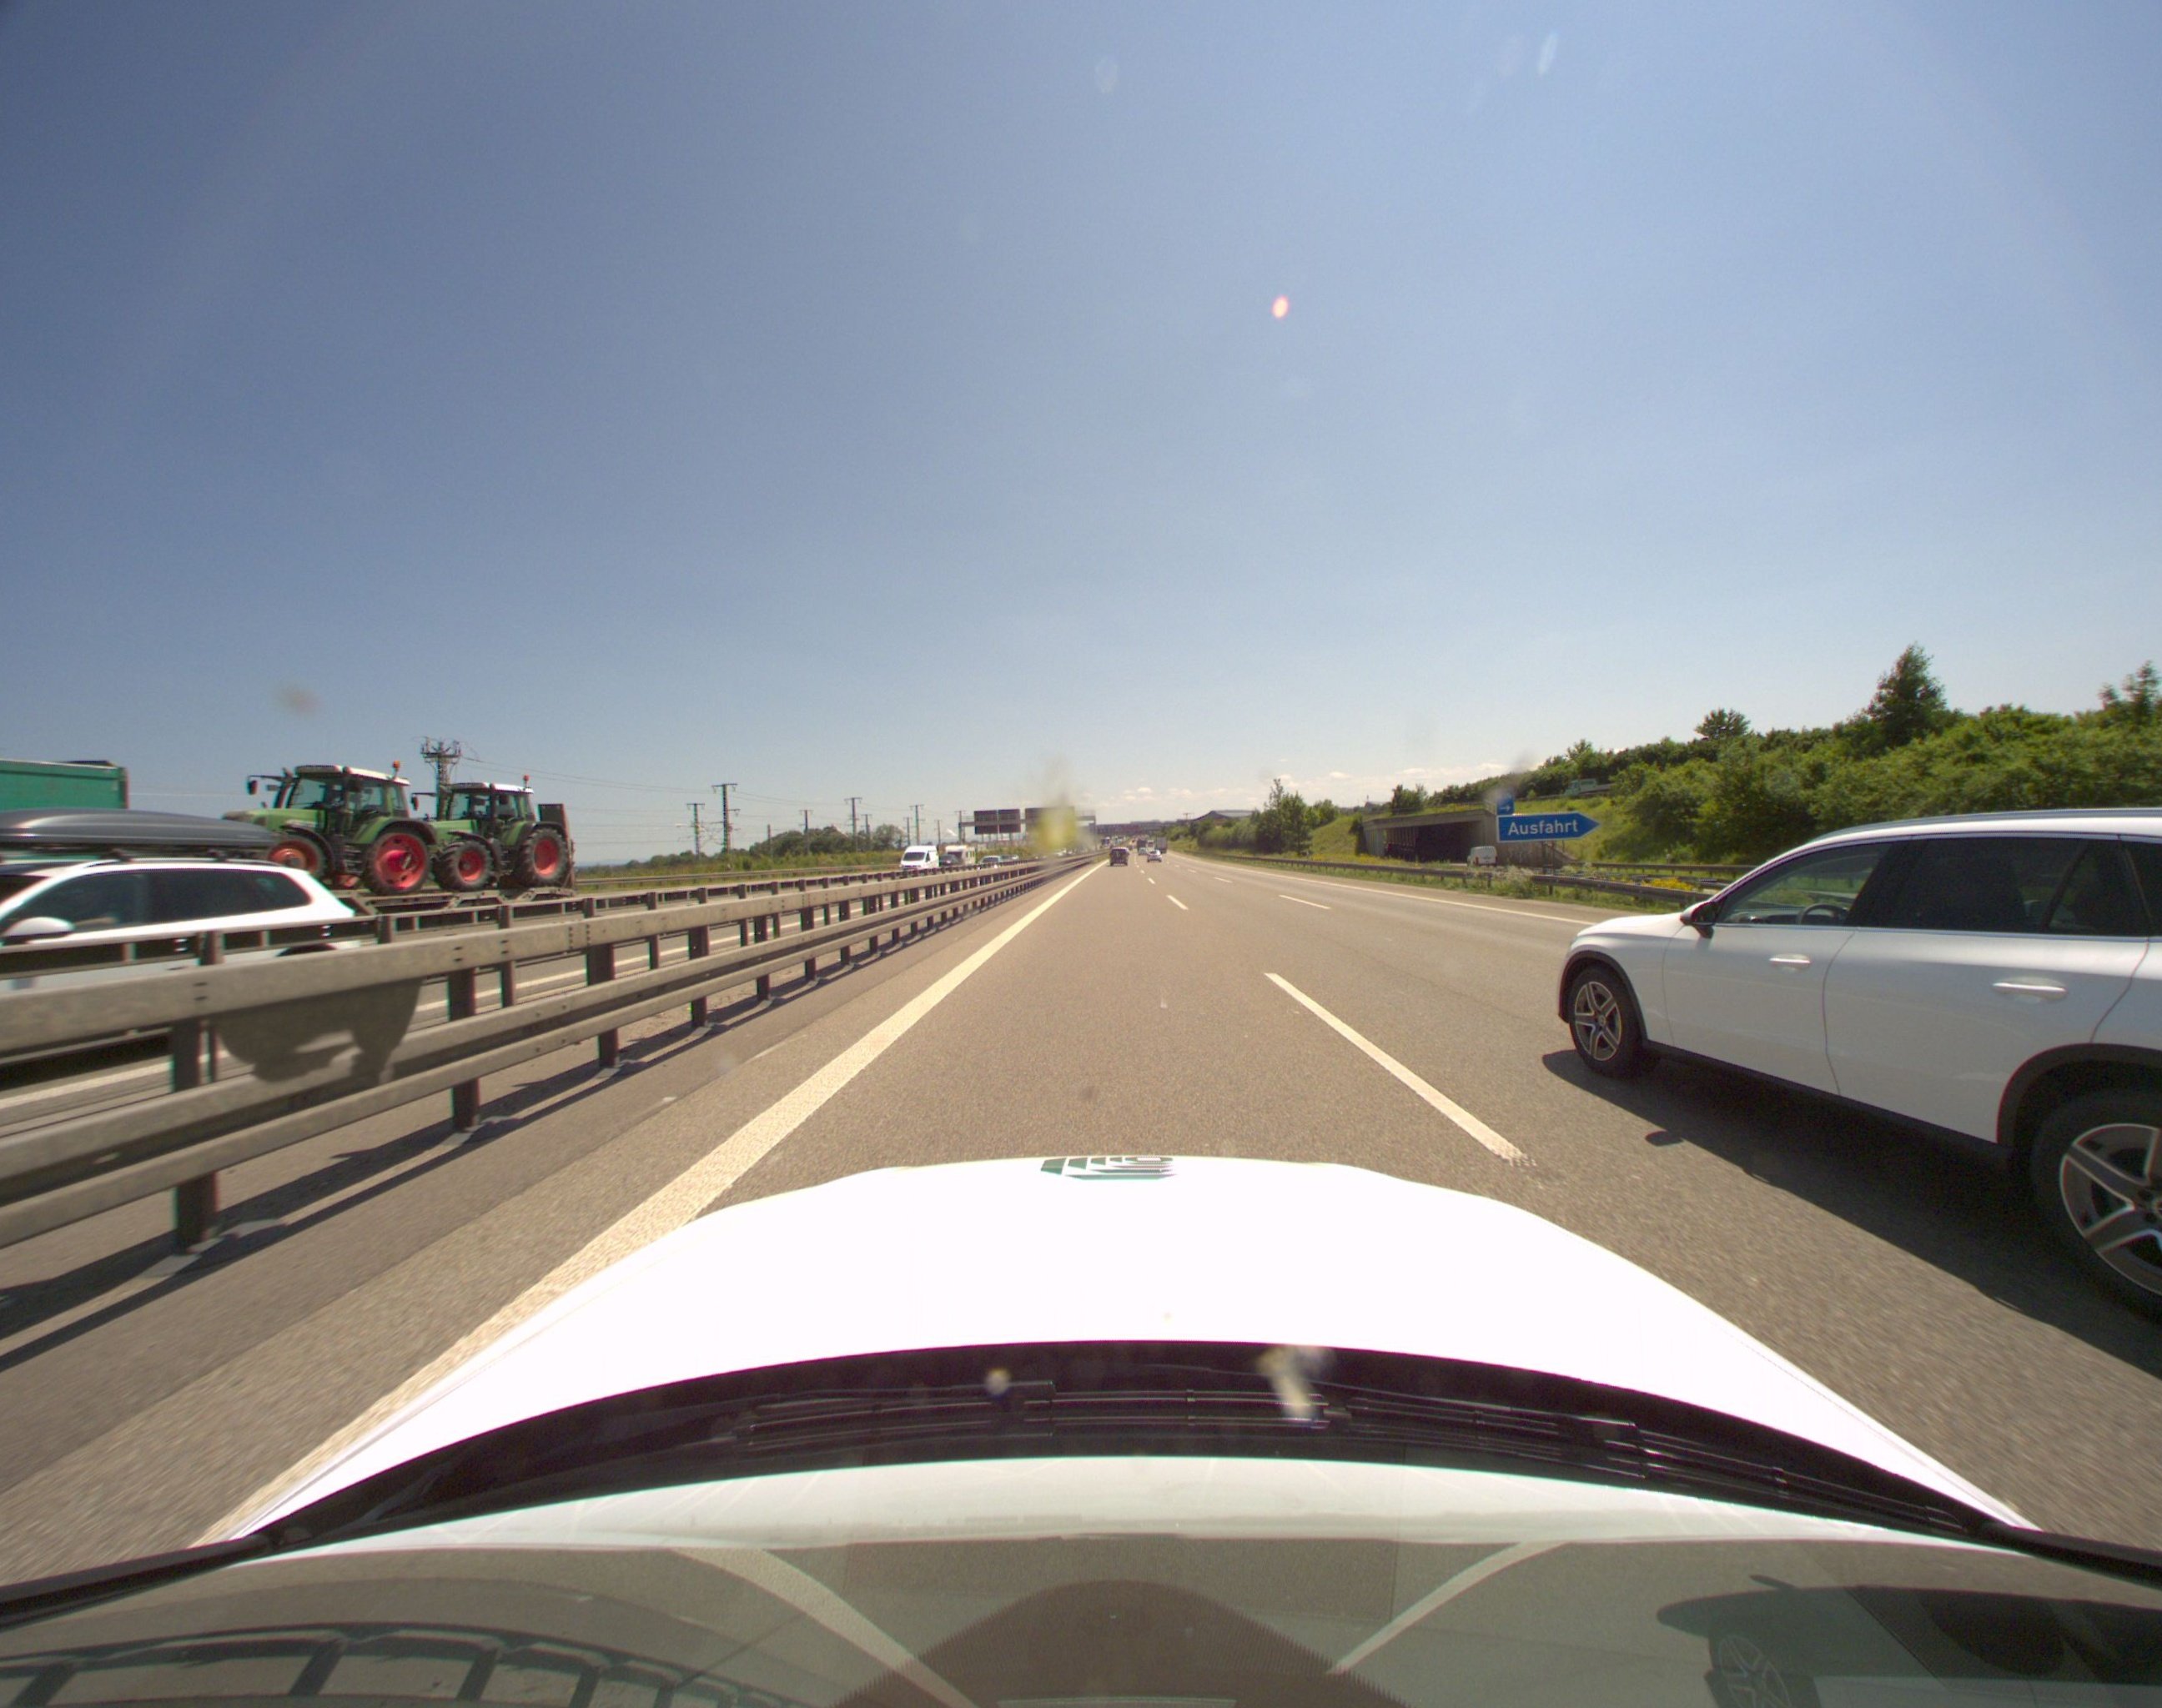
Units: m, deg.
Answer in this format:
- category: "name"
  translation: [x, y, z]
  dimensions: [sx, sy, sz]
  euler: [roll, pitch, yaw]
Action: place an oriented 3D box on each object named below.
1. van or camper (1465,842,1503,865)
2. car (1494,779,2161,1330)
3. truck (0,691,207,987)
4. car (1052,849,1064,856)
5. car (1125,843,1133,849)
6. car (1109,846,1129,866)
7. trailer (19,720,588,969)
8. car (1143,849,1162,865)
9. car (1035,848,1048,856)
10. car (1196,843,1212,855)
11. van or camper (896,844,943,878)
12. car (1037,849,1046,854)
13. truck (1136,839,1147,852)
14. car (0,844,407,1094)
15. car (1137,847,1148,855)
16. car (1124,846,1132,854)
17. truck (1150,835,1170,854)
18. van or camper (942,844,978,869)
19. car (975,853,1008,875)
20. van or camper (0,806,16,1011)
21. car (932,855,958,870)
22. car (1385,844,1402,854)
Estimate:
- category: "van or camper"
  translation: [36.186, -0.021, 73.241]
  dimensions: [2.140, 2.014, 4.320]
  euler: [-1, -1, 14]
- category: "car"
  translation: [4.234, 0.613, 4.111]
  dimensions: [1.891, 1.647, 5.000]
  euler: [-1, -1, 2]
- category: "truck"
  translation: [-16.919, -0.213, 10.917]
  dimensions: [2.749, 4.245, 6.978]
  euler: [-1, -1, 1]
- category: "car"
  translation: [-4.375, -0.292, 153.116]
  dimensions: [1.939, 1.347, 4.002]
  euler: [-1, 0, 2]
- category: "car"
  translation: [15.423, -2.594, 261.151]
  dimensions: [2.179, 2.002, 4.001]
  euler: [-1, 2, 1]
- category: "car"
  translation: [3.873, 0.237, 83.203]
  dimensions: [1.919, 1.919, 4.951]
  euler: [-1, -1, 3]
- category: "trailer"
  translation: [-16.737, -0.086, 19.593]
  dimensions: [2.749, 4.245, 11.202]
  euler: [-1, -1, 1]
- category: "car"
  translation: [8.798, 0.379, 100.156]
  dimensions: [1.920, 1.919, 4.517]
  euler: [-1, -1, 0]
- category: "car"
  translation: [-6.308, -0.306, 131.388]
  dimensions: [1.758, 1.347, 4.002]
  euler: [-1, 0, 2]
- category: "car"
  translation: [20.292, -0.843, 134.763]
  dimensions: [1.920, 1.919, 4.517]
  euler: [-1, -1, 0]
- category: "van or camper"
  translation: [-11.603, 0.463, 59.078]
  dimensions: [1.986, 2.300, 5.897]
  euler: [-1, 0, 2]
- category: "car"
  translation: [-11.139, -0.607, 229.206]
  dimensions: [1.939, 1.347, 4.002]
  euler: [-1, 0, 2]
- category: "truck"
  translation: [15.820, -2.292, 213.402]
  dimensions: [2.692, 3.109, 10.664]
  euler: [-1, -1, 2]
- category: "car"
  translation: [-8.651, 0.846, 6.887]
  dimensions: [1.801, 1.798, 4.840]
  euler: [-1, 0, 1]
- category: "car"
  translation: [12.436, -0.513, 164.124]
  dimensions: [1.974, 1.473, 4.002]
  euler: [-1, -1, 2]
- category: "car"
  translation: [10.002, -0.792, 174.058]
  dimensions: [1.569, 1.552, 3.968]
  euler: [-1, -1, 4]
- category: "truck"
  translation: [18.711, -2.428, 194.177]
  dimensions: [4.023, 4.261, 11.765]
  euler: [-1, 2, 2]
- category: "van or camper"
  translation: [-13.370, 0.260, 90.667]
  dimensions: [2.507, 2.665, 8.068]
  euler: [-1, 0, 2]
- category: "car"
  translation: [-6.540, 0.712, 59.848]
  dimensions: [1.692, 1.465, 4.439]
  euler: [-1, 0, 2]
- category: "van or camper"
  translation: [-12.607, 0.609, 6.453]
  dimensions: [1.750, 2.221, 4.942]
  euler: [-1, 0, 1]
- category: "car"
  translation: [-13.886, 0.853, 83.309]
  dimensions: [1.758, 1.347, 4.384]
  euler: [-1, 0, 2]
- category: "car"
  translation: [56.288, -0.906, 146.824]
  dimensions: [1.981, 1.750, 4.010]
  euler: [-1, -1, 9]
